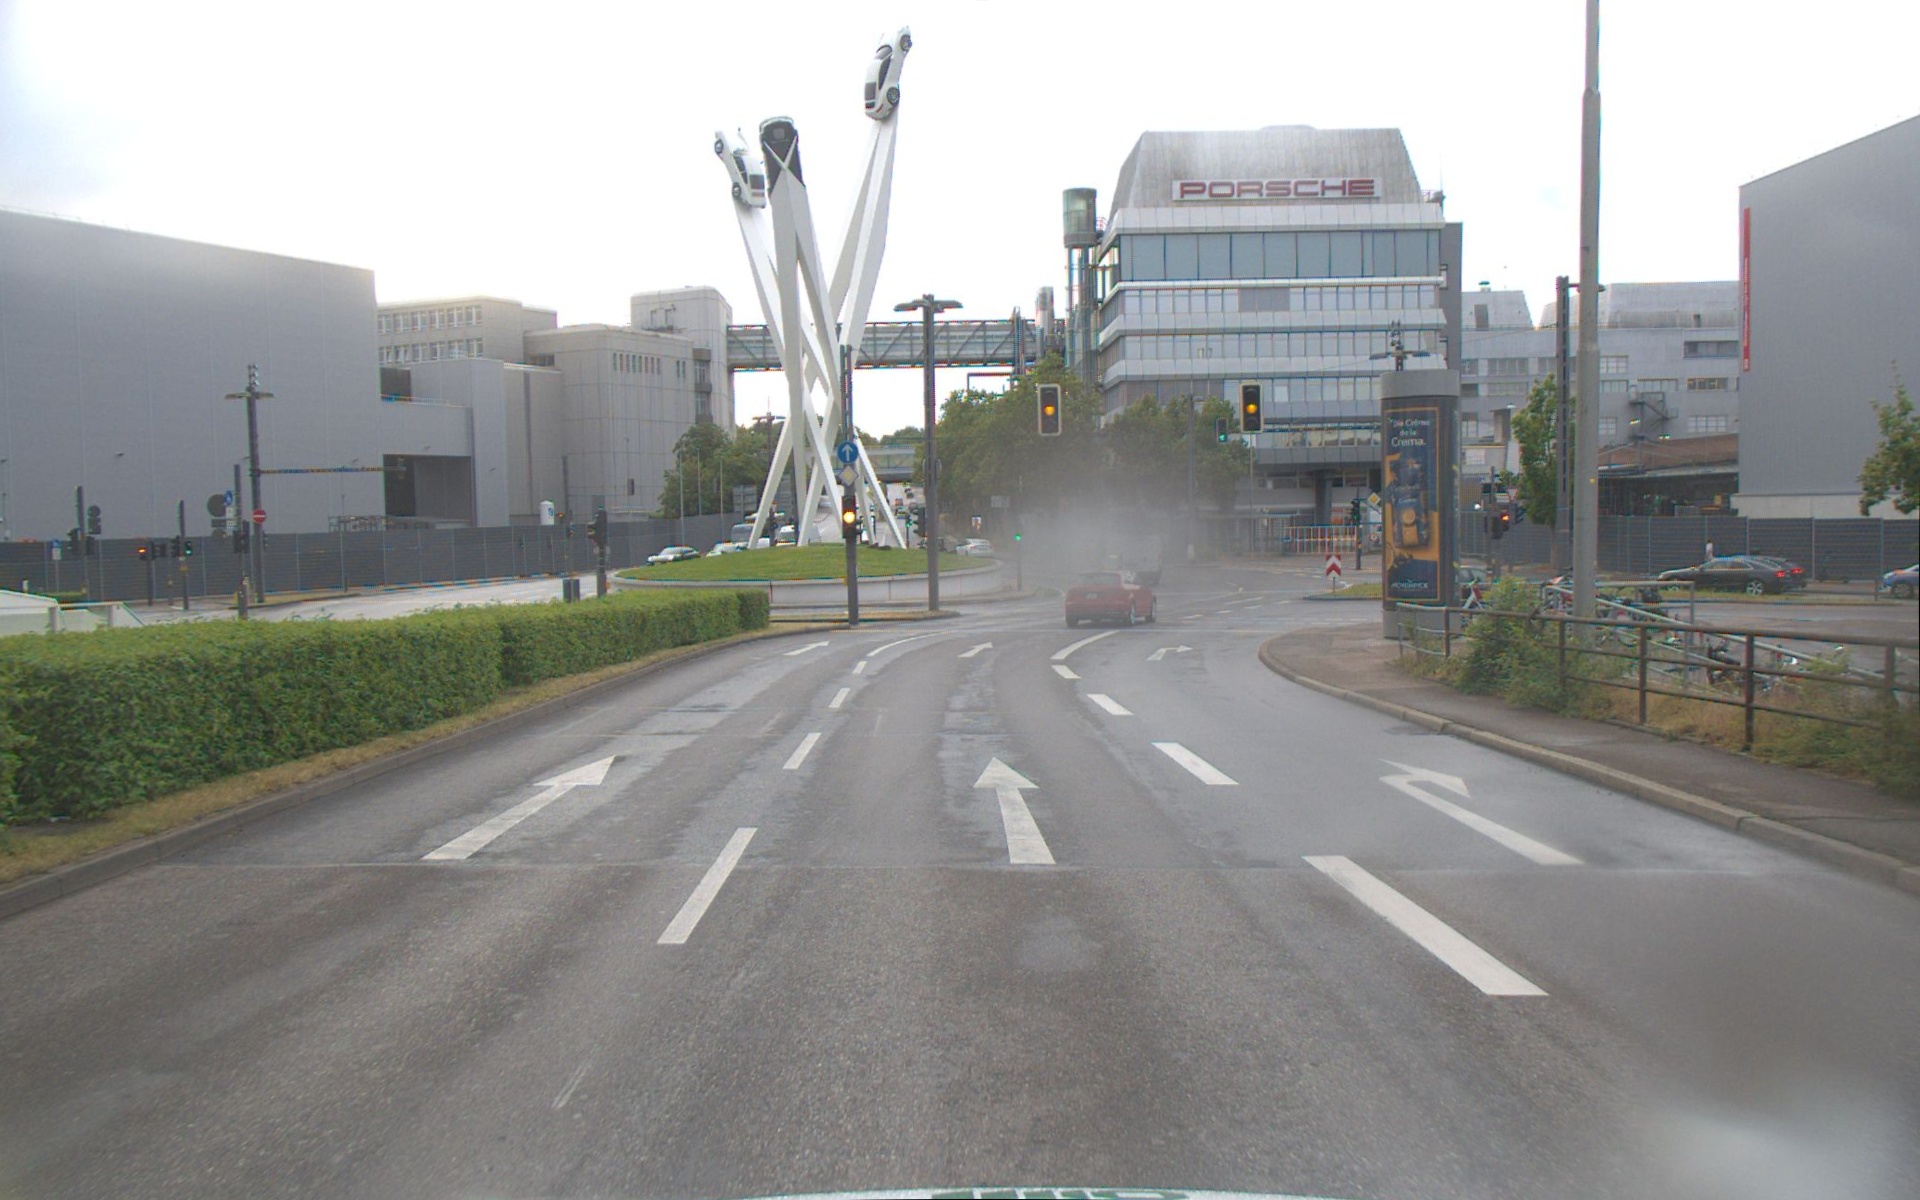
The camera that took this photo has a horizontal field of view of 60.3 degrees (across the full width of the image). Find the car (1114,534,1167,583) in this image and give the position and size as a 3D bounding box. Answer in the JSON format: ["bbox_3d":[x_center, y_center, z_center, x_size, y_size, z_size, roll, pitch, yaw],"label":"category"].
[{"bbox_3d":[8.368,-1.908,77.023,2.186,2.144,4.956,-1,0,3],"label":"car"}]

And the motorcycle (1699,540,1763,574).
[{"bbox_3d":[31.742,-1.763,68.110,2.316,1.367,0.650,1,2,40],"label":"motorcycle"}]

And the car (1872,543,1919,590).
[{"bbox_3d":[34.903,-1.176,58.900,3.909,1.629,1.901,2,3,41],"label":"car"}]

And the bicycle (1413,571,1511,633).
[{"bbox_3d":[10.017,0.042,33.022,1.762,1.182,0.592,-2,0,2],"label":"bicycle"}]

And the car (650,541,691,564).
[{"bbox_3d":[-18.817,-3.094,107.755,1.795,1.497,4.514,-1,2,1],"label":"car"}]

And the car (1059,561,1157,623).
[{"bbox_3d":[3.867,-0.222,42.665,1.735,1.490,3.735,-1,1,18],"label":"car"}]

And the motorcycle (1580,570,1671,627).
[{"bbox_3d":[17.520,-0.042,43.575,2.182,1.477,0.756,0,2,22],"label":"motorcycle"}]

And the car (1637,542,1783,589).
[{"bbox_3d":[27.103,-1.272,59.868,4.501,1.566,1.748,3,4,41],"label":"car"}]

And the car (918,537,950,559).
[{"bbox_3d":[-1.725,-3.427,109.195,1.529,1.310,3.404,-1,1,-11],"label":"car"}]

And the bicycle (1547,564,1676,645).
[{"bbox_3d":[10.159,0.060,25.797,1.895,1.198,0.596,-2,1,-17],"label":"bicycle"}]

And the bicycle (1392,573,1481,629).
[{"bbox_3d":[10.287,0.024,35.736,1.732,1.160,0.679,-1,0,6],"label":"bicycle"}]

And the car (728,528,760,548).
[{"bbox_3d":[-16.673,-4.773,127.799,1.795,1.497,4.514,-1,2,1],"label":"car"}]

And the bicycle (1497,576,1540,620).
[{"bbox_3d":[14.889,-0.064,44.064,0.379,1.117,1.739,0,1,43],"label":"bicycle"}]

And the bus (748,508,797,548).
[{"bbox_3d":[-16.227,-6.160,143.877,2.614,3.256,12.673,-1,2,1],"label":"bus"}]

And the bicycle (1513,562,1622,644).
[{"bbox_3d":[9.790,0.039,26.637,1.907,1.245,0.593,-2,1,-32],"label":"bicycle"}]

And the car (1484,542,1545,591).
[{"bbox_3d":[15.867,-0.948,47.325,1.576,1.313,3.568,-1,1,19],"label":"car"}]

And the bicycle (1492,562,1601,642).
[{"bbox_3d":[9.707,0.026,27.354,1.906,1.245,0.593,-2,1,-30],"label":"bicycle"}]

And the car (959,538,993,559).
[{"bbox_3d":[1.066,-3.387,109.365,1.636,1.323,3.878,-1,1,-9],"label":"car"}]

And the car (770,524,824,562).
[{"bbox_3d":[-10.954,-3.834,111.524,1.951,2.489,5.432,-1,2,13],"label":"car"}]
